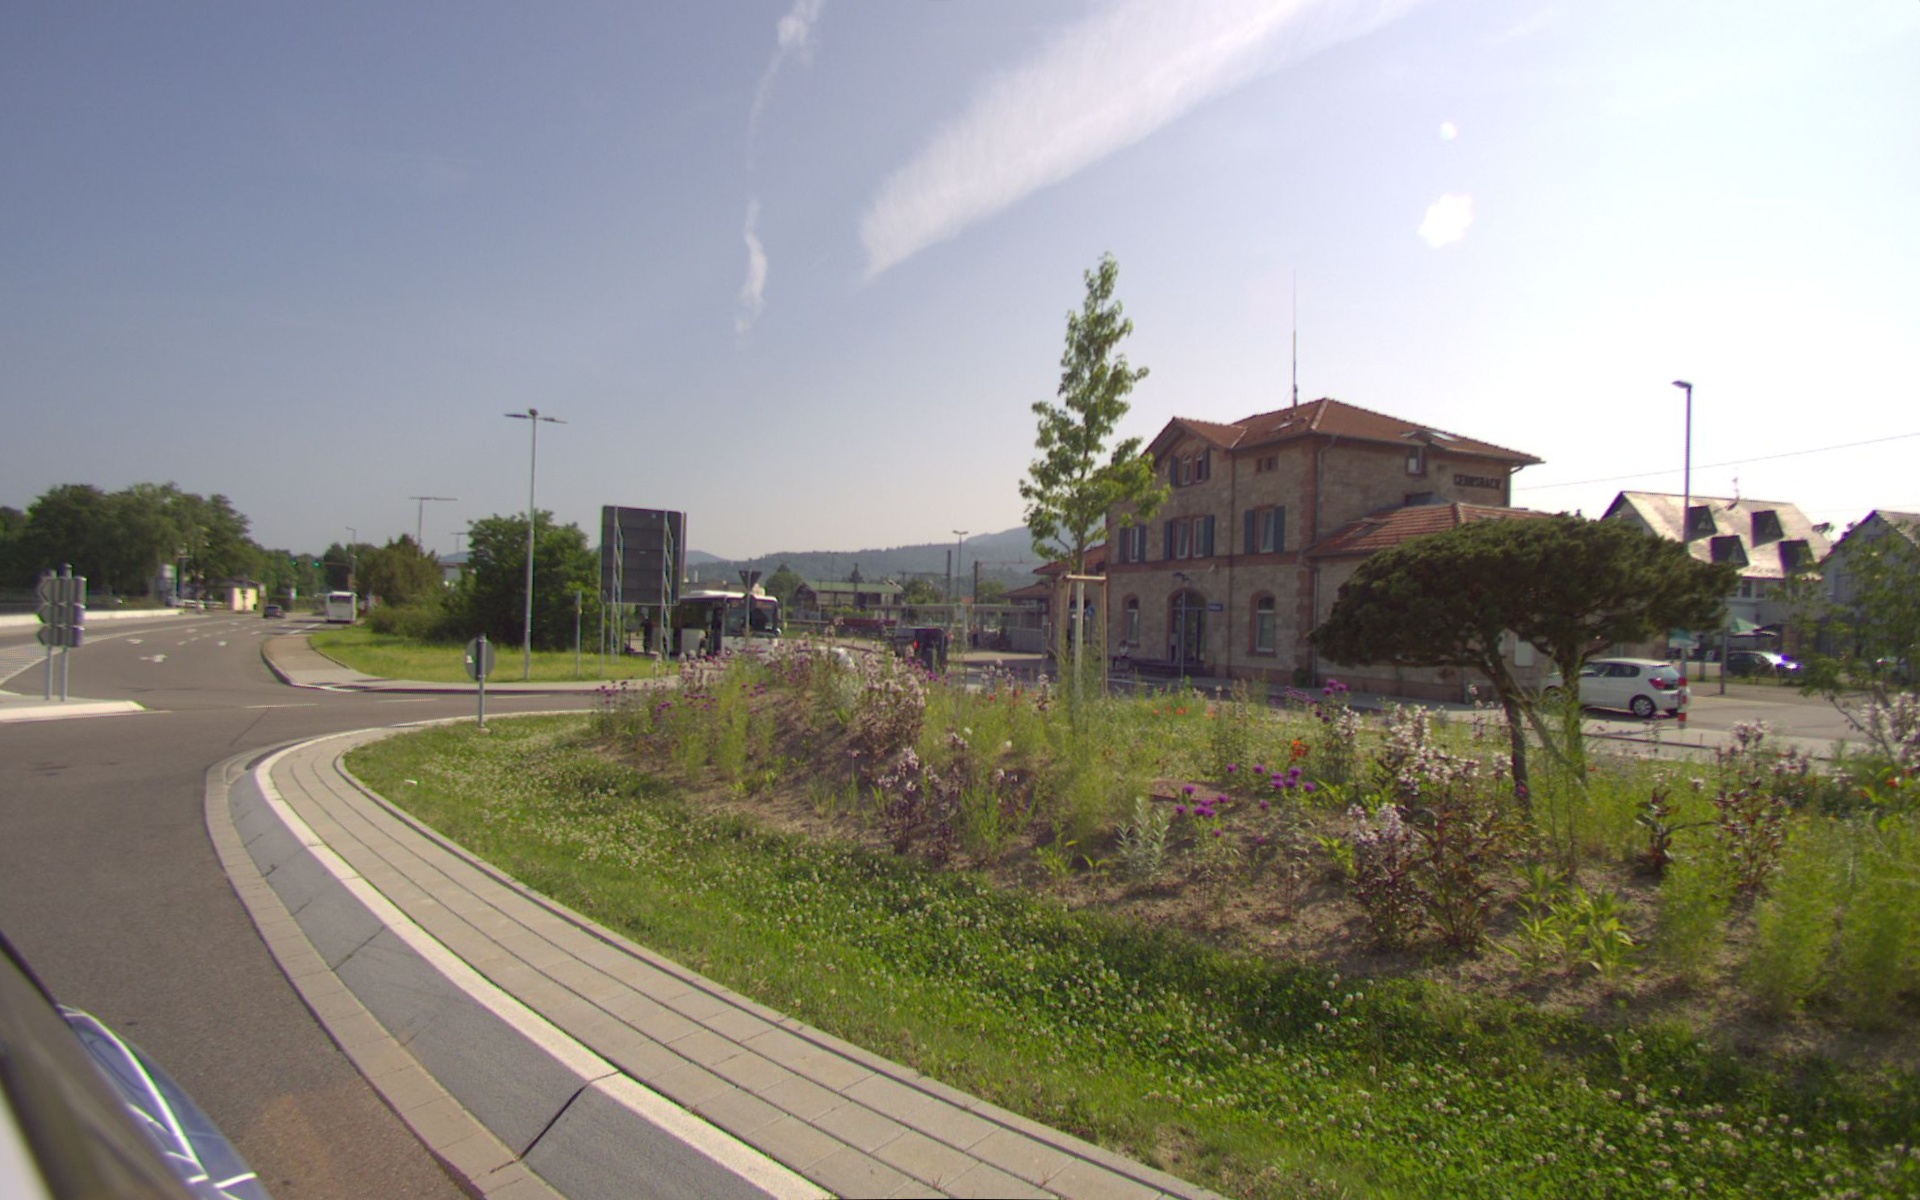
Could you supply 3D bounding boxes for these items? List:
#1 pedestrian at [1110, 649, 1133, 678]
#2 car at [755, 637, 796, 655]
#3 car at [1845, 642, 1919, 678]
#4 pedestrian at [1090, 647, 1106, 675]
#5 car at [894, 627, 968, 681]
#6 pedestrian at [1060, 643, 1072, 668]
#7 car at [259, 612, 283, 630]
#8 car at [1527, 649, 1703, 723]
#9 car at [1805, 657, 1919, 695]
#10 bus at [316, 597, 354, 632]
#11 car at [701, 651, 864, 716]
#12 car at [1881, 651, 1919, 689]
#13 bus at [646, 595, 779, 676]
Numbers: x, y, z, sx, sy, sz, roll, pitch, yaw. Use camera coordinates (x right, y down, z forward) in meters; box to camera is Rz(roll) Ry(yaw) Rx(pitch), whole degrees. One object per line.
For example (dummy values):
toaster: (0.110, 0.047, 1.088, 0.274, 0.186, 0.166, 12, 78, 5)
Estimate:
pedestrian: (6.787, 2.665, 42.489, 0.777, 1.171, 0.508, -1, 0, -23)
car: (-19.485, 4.822, 106.979, 3.939, 1.740, 1.840, -1, 0, -43)
car: (50.519, 3.243, 55.160, 3.930, 1.740, 1.844, -1, 0, -23)
pedestrian: (6.051, 2.671, 44.496, 0.503, 1.171, 0.508, -1, 0, -23)
car: (-1.325, 2.239, 43.348, 1.945, 1.979, 5.172, -1, 0, -15)
pedestrian: (5.128, 2.688, 49.163, 0.365, 1.171, 0.508, -1, 0, -23)
car: (-73.810, 2.243, 108.352, 1.856, 1.807, 4.008, -1, 0, -39)
car: (17.642, 2.257, 27.413, 1.651, 1.580, 3.663, -1, 1, -29)
car: (33.280, 2.739, 36.706, 1.405, 1.187, 3.750, -1, -1, -34)
bus: (-60.033, 1.395, 97.370, 2.821, 3.216, 9.145, 1, -1, -30)
car: (-4.481, 2.082, 25.721, 3.935, 1.408, 1.786, -1, 0, -9)
car: (44.603, 3.185, 45.755, 1.752, 1.630, 4.012, -1, -1, -28)
bus: (-11.714, 1.497, 46.923, 2.545, 3.354, 10.617, -1, 0, -33)
